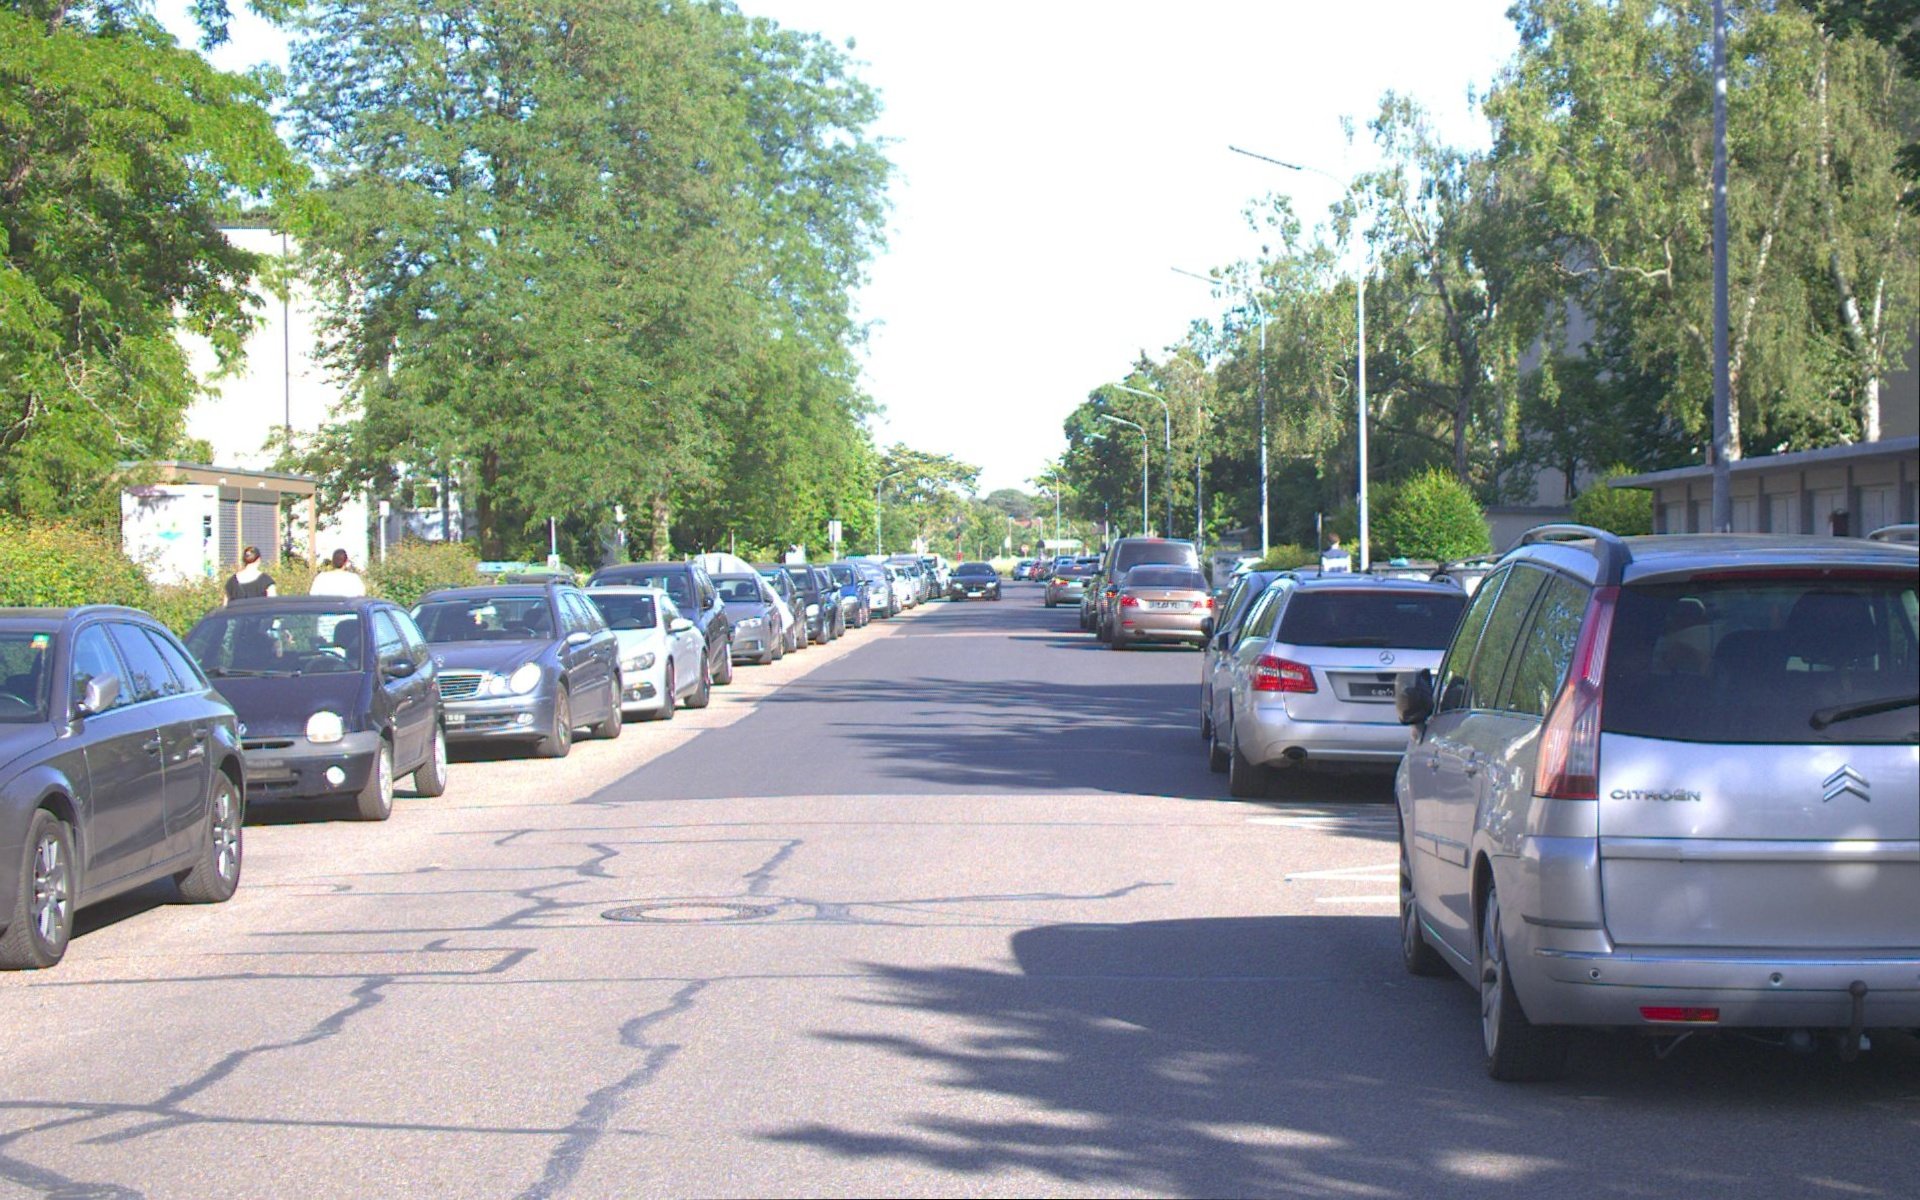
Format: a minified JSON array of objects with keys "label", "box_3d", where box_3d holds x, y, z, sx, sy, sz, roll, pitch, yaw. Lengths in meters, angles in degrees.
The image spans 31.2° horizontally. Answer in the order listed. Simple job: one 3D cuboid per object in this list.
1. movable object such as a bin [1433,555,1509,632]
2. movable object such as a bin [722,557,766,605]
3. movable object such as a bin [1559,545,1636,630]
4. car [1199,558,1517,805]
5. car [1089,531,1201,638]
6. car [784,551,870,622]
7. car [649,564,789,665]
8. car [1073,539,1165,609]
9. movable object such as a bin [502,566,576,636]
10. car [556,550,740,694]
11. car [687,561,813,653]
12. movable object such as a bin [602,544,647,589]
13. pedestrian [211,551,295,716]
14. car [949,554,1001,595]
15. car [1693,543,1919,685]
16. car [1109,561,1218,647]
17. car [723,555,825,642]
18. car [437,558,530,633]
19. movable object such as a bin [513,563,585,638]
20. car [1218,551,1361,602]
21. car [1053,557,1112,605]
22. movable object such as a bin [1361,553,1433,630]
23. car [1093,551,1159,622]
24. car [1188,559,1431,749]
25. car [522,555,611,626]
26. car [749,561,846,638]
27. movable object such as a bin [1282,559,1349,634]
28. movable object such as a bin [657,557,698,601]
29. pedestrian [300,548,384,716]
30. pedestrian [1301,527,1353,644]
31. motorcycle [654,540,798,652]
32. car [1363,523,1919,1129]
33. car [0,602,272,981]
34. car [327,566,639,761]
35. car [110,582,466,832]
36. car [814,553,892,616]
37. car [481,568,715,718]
[{"label":"movable object such as a bin","box_3d":[9.203,-0.117,61.983,1.276,1.360,1.133,-1,1,5]},{"label":"movable object such as a bin","box_3d":[-6.445,-0.578,102.600,1.136,1.378,1.442,2,1,2]},{"label":"movable object such as a bin","box_3d":[11.615,-0.233,62.688,1.276,1.461,1.133,-1,4,5]},{"label":"car","box_3d":[2.658,0.482,23.910,1.831,1.540,4.640,0,1,2]},{"label":"car","box_3d":[3.468,-0.309,65.174,1.852,1.927,4.705,1,1,0]},{"label":"car","box_3d":[-3.220,-0.353,83.793,1.754,1.600,3.968,-3,1,2]},{"label":"car","box_3d":[-3.693,0.193,53.359,1.754,1.416,4.269,-3,1,1]},{"label":"car","box_3d":[3.553,-0.599,77.577,1.731,1.485,4.501,-1,1,-1]},{"label":"movable object such as a bin","box_3d":[-7.800,0.010,63.755,1.177,1.283,1.343,0,1,2]},{"label":"car","box_3d":[-3.827,0.231,42.763,1.754,1.630,4.370,-3,1,1]},{"label":"car","box_3d":[-3.659,0.099,60.502,1.754,1.476,3.959,-3,1,3]},{"label":"movable object such as a bin","box_3d":[-10.797,-1.089,110.711,1.177,1.416,1.462,2,1,3]},{"label":"pedestrian","box_3d":[-7.221,0.331,35.145,0.720,1.673,0.600,0,1,1]},{"label":"car","box_3d":[0.583,-0.989,131.303,1.910,1.471,4.571,-1,1,1]},{"label":"car","box_3d":[10.213,0.138,37.117,4.182,1.489,1.818,0,1,-2]},{"label":"car","box_3d":[3.473,0.042,59.336,1.801,1.414,4.635,1,1,3]},{"label":"car","box_3d":[-3.577,-0.046,66.610,1.754,1.569,3.720,-3,1,0]},{"label":"car","box_3d":[-10.639,-0.125,76.944,1.570,1.635,4.000,1,1,-1]},{"label":"movable object such as a bin","box_3d":[-7.787,0.001,65.183,1.177,1.403,1.343,0,1,2]},{"label":"car","box_3d":[10.529,-0.755,110.198,4.415,1.508,1.829,-1,1,2]},{"label":"car","box_3d":[4.011,-0.632,113.194,1.679,1.508,4.104,1,1,-1]},{"label":"movable object such as a bin","box_3d":[7.917,-0.161,62.363,1.224,1.360,1.133,-1,1,5]},{"label":"car","box_3d":[4.095,-0.342,85.025,1.489,1.712,2.583,1,1,1]},{"label":"car","box_3d":[2.892,0.402,29.109,1.804,1.489,3.795,0,1,2]},{"label":"car","box_3d":[-8.703,-0.232,76.282,1.570,1.520,4.000,1,1,-1]},{"label":"car","box_3d":[-3.351,-0.044,71.685,1.754,1.476,4.537,-3,1,0]},{"label":"movable object such as a bin","box_3d":[6.559,-0.069,63.303,1.027,1.305,1.386,-3,0,11]},{"label":"movable object such as a bin","box_3d":[-9.388,-0.715,114.304,1.134,1.416,1.361,2,1,2]},{"label":"pedestrian","box_3d":[-6.237,0.317,34.705,0.720,1.673,0.616,0,1,1]},{"label":"pedestrian","box_3d":[6.033,-0.237,56.533,0.703,1.882,0.872,-3,0,2]},{"label":"motorcycle","box_3d":[-3.863,-0.064,56.829,2.256,1.721,0.932,-3,0,-2]},{"label":"car","box_3d":[2.404,0.573,11.450,1.754,1.621,4.495,0,1,2]},{"label":"car","box_3d":[-4.375,0.733,15.032,1.754,1.380,4.674,-2,0,0]},{"label":"car","box_3d":[-4.078,0.503,30.171,1.754,1.485,4.900,-3,0,3]},{"label":"car","box_3d":[-4.395,0.650,22.954,1.648,1.459,3.496,-2,1,0]},{"label":"car","box_3d":[-2.907,-0.444,94.281,1.903,1.634,4.349,-1,1,1]},{"label":"car","box_3d":[-3.741,0.419,36.199,1.754,1.420,4.210,-3,0,3]}]
